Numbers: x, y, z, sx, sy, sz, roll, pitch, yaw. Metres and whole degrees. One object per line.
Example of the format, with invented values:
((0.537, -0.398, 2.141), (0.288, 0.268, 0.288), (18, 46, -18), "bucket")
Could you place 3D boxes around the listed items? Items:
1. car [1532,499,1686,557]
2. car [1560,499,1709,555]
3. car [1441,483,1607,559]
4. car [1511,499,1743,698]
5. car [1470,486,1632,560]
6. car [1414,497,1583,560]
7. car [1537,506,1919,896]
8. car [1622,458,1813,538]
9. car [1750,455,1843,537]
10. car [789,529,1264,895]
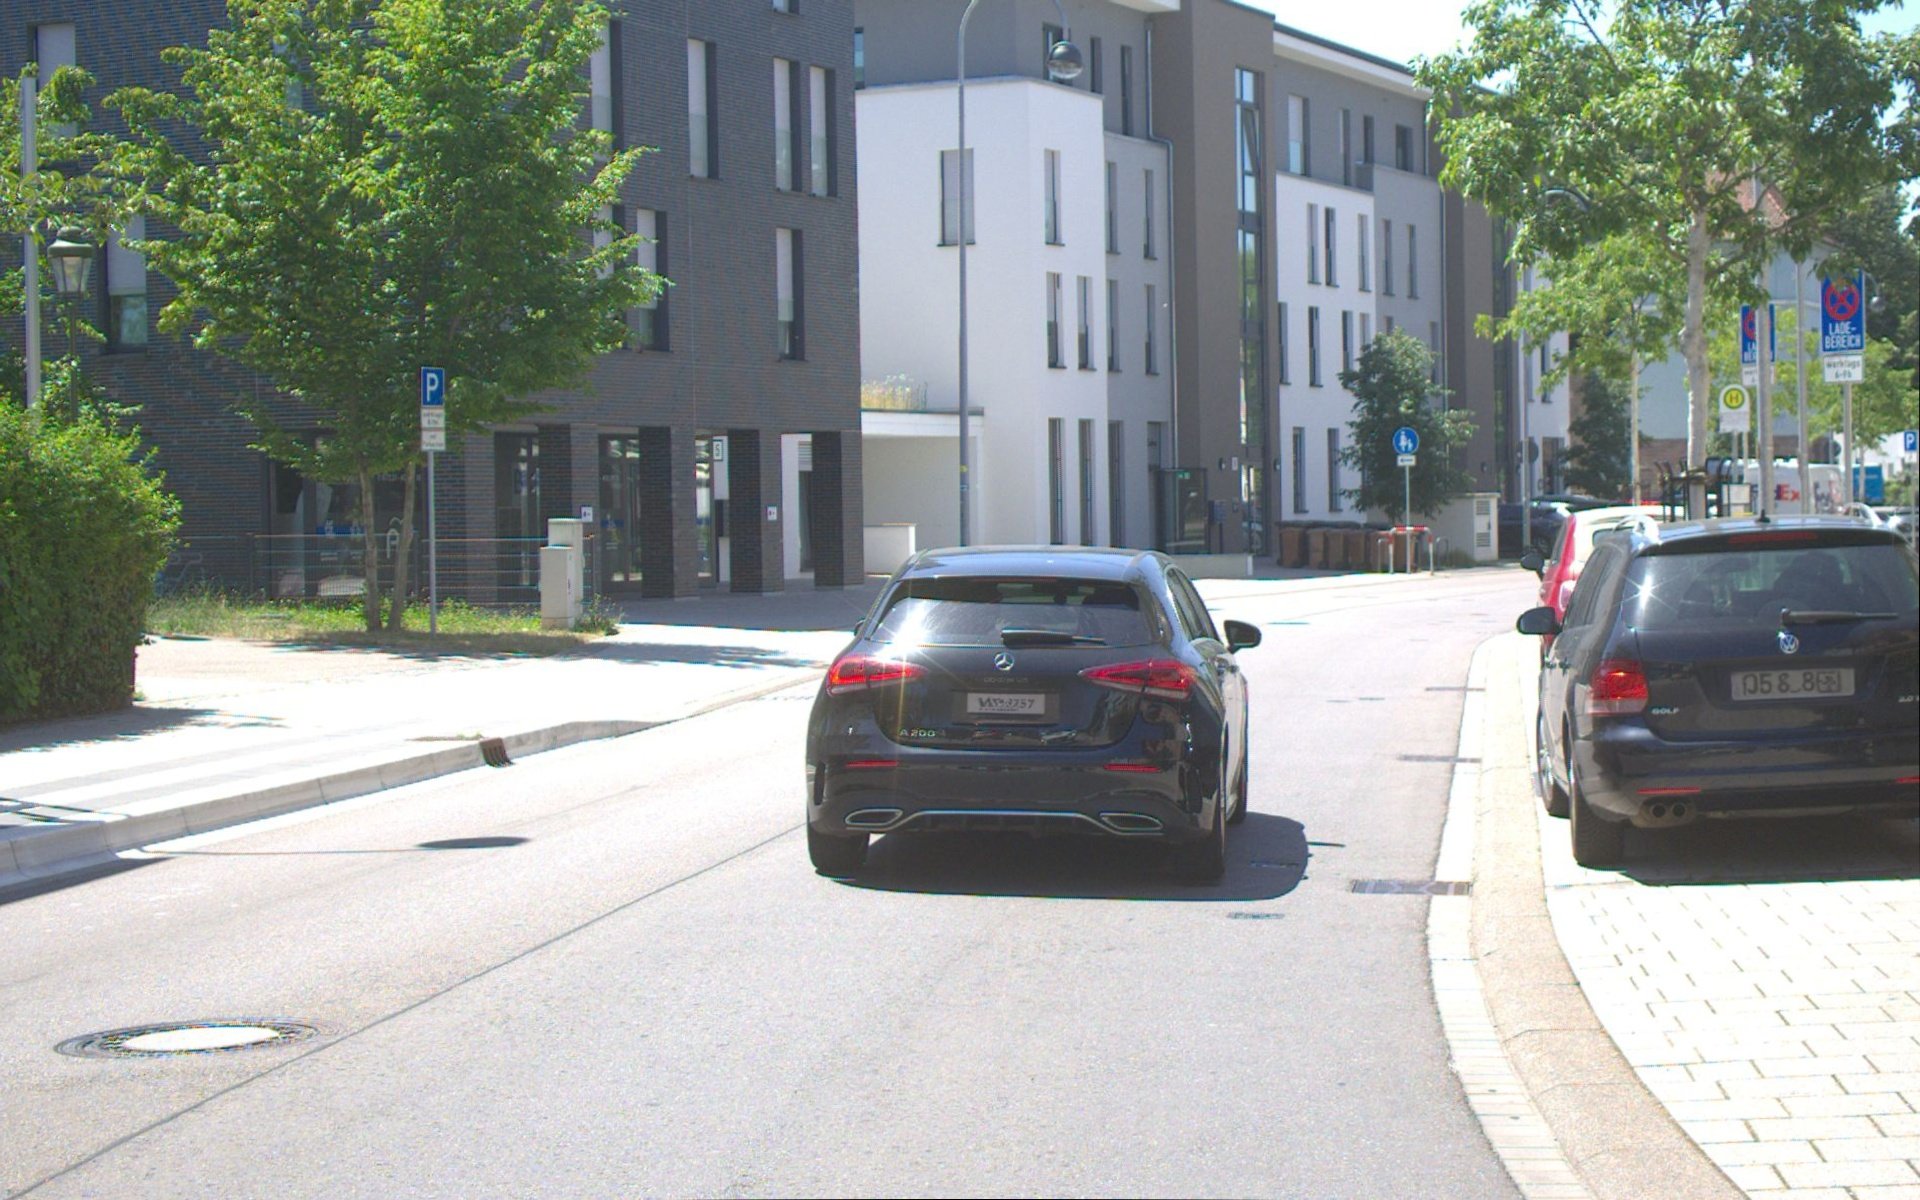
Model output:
((18.904, -2.120, 100.135), (3.993, 1.656, 1.997), (1, 2, 28), "car")
((20.349, -2.204, 103.756), (3.993, 1.656, 1.997), (1, 2, 28), "car")
((15.279, -2.147, 93.202), (3.993, 2.007, 1.997), (1, 2, 29), "car")
((5.545, -0.054, 28.903), (1.606, 1.525, 3.491), (-2, 1, 7), "car")
((16.387, -2.144, 95.331), (3.993, 2.007, 1.997), (1, 2, 29), "car")
((14.257, -1.905, 91.072), (3.993, 1.656, 1.997), (1, 2, 28), "car")
((3.598, 0.357, 15.633), (1.750, 1.481, 3.999), (-3, 1, 8), "car")
((24.977, -3.368, 113.390), (5.651, 2.570, 2.511), (1, 2, 29), "car")
((21.015, -2.606, 86.306), (1.995, 2.007, 3.997), (1, 2, 17), "car")
((0.456, 0.404, 16.201), (1.763, 1.452, 4.437), (0, 1, 7), "car")
